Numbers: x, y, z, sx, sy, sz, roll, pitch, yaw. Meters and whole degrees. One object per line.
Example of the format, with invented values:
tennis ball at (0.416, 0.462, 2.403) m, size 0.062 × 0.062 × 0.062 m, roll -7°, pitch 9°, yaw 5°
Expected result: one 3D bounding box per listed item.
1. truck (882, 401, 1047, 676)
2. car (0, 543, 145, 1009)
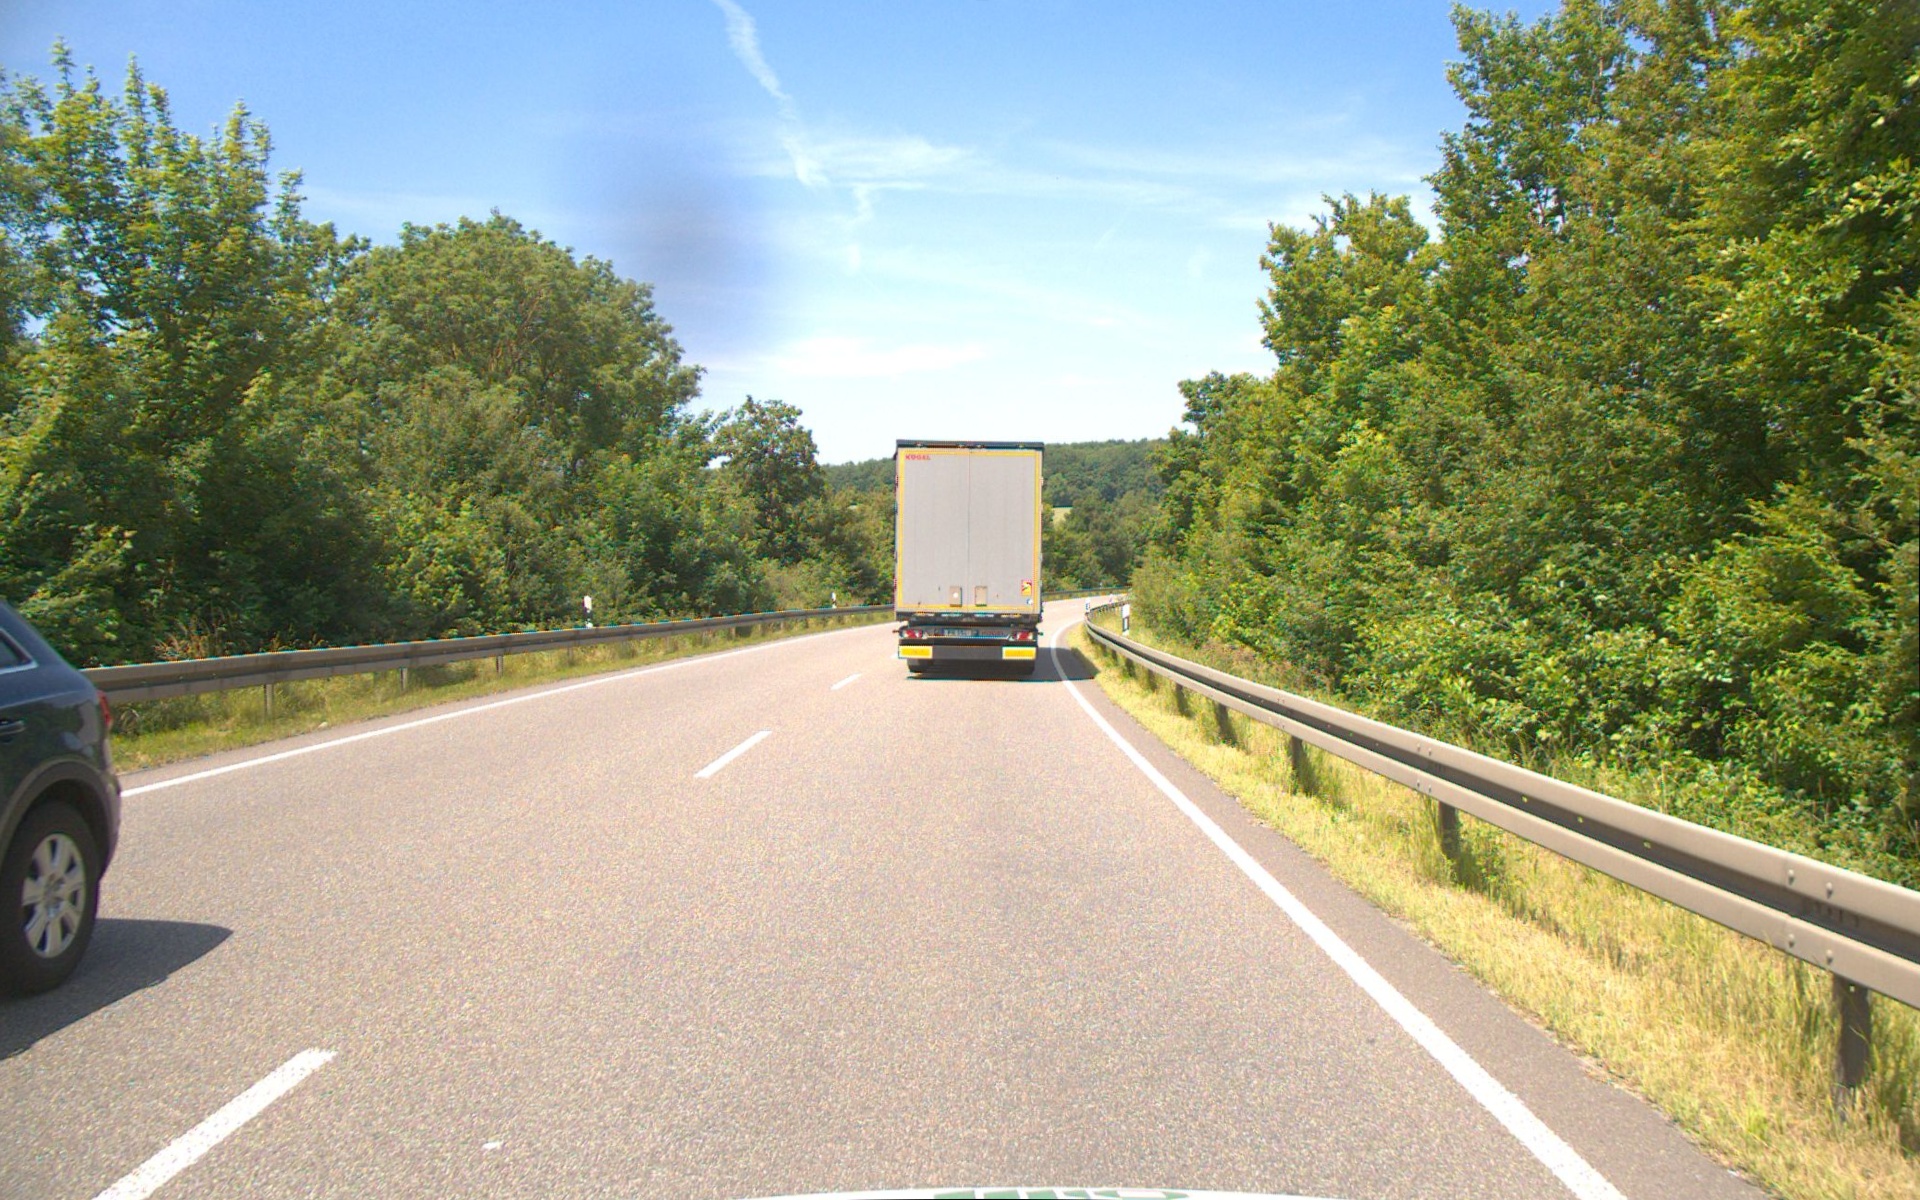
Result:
truck at (0.234, -1.069, 33.625) m, size 2.759 × 4.612 × 11.770 m, roll 0°, pitch 0°, yaw 2°
car at (-4.090, 0.578, 4.531) m, size 1.826 × 1.554 × 3.890 m, roll 1°, pitch 0°, yaw -1°
